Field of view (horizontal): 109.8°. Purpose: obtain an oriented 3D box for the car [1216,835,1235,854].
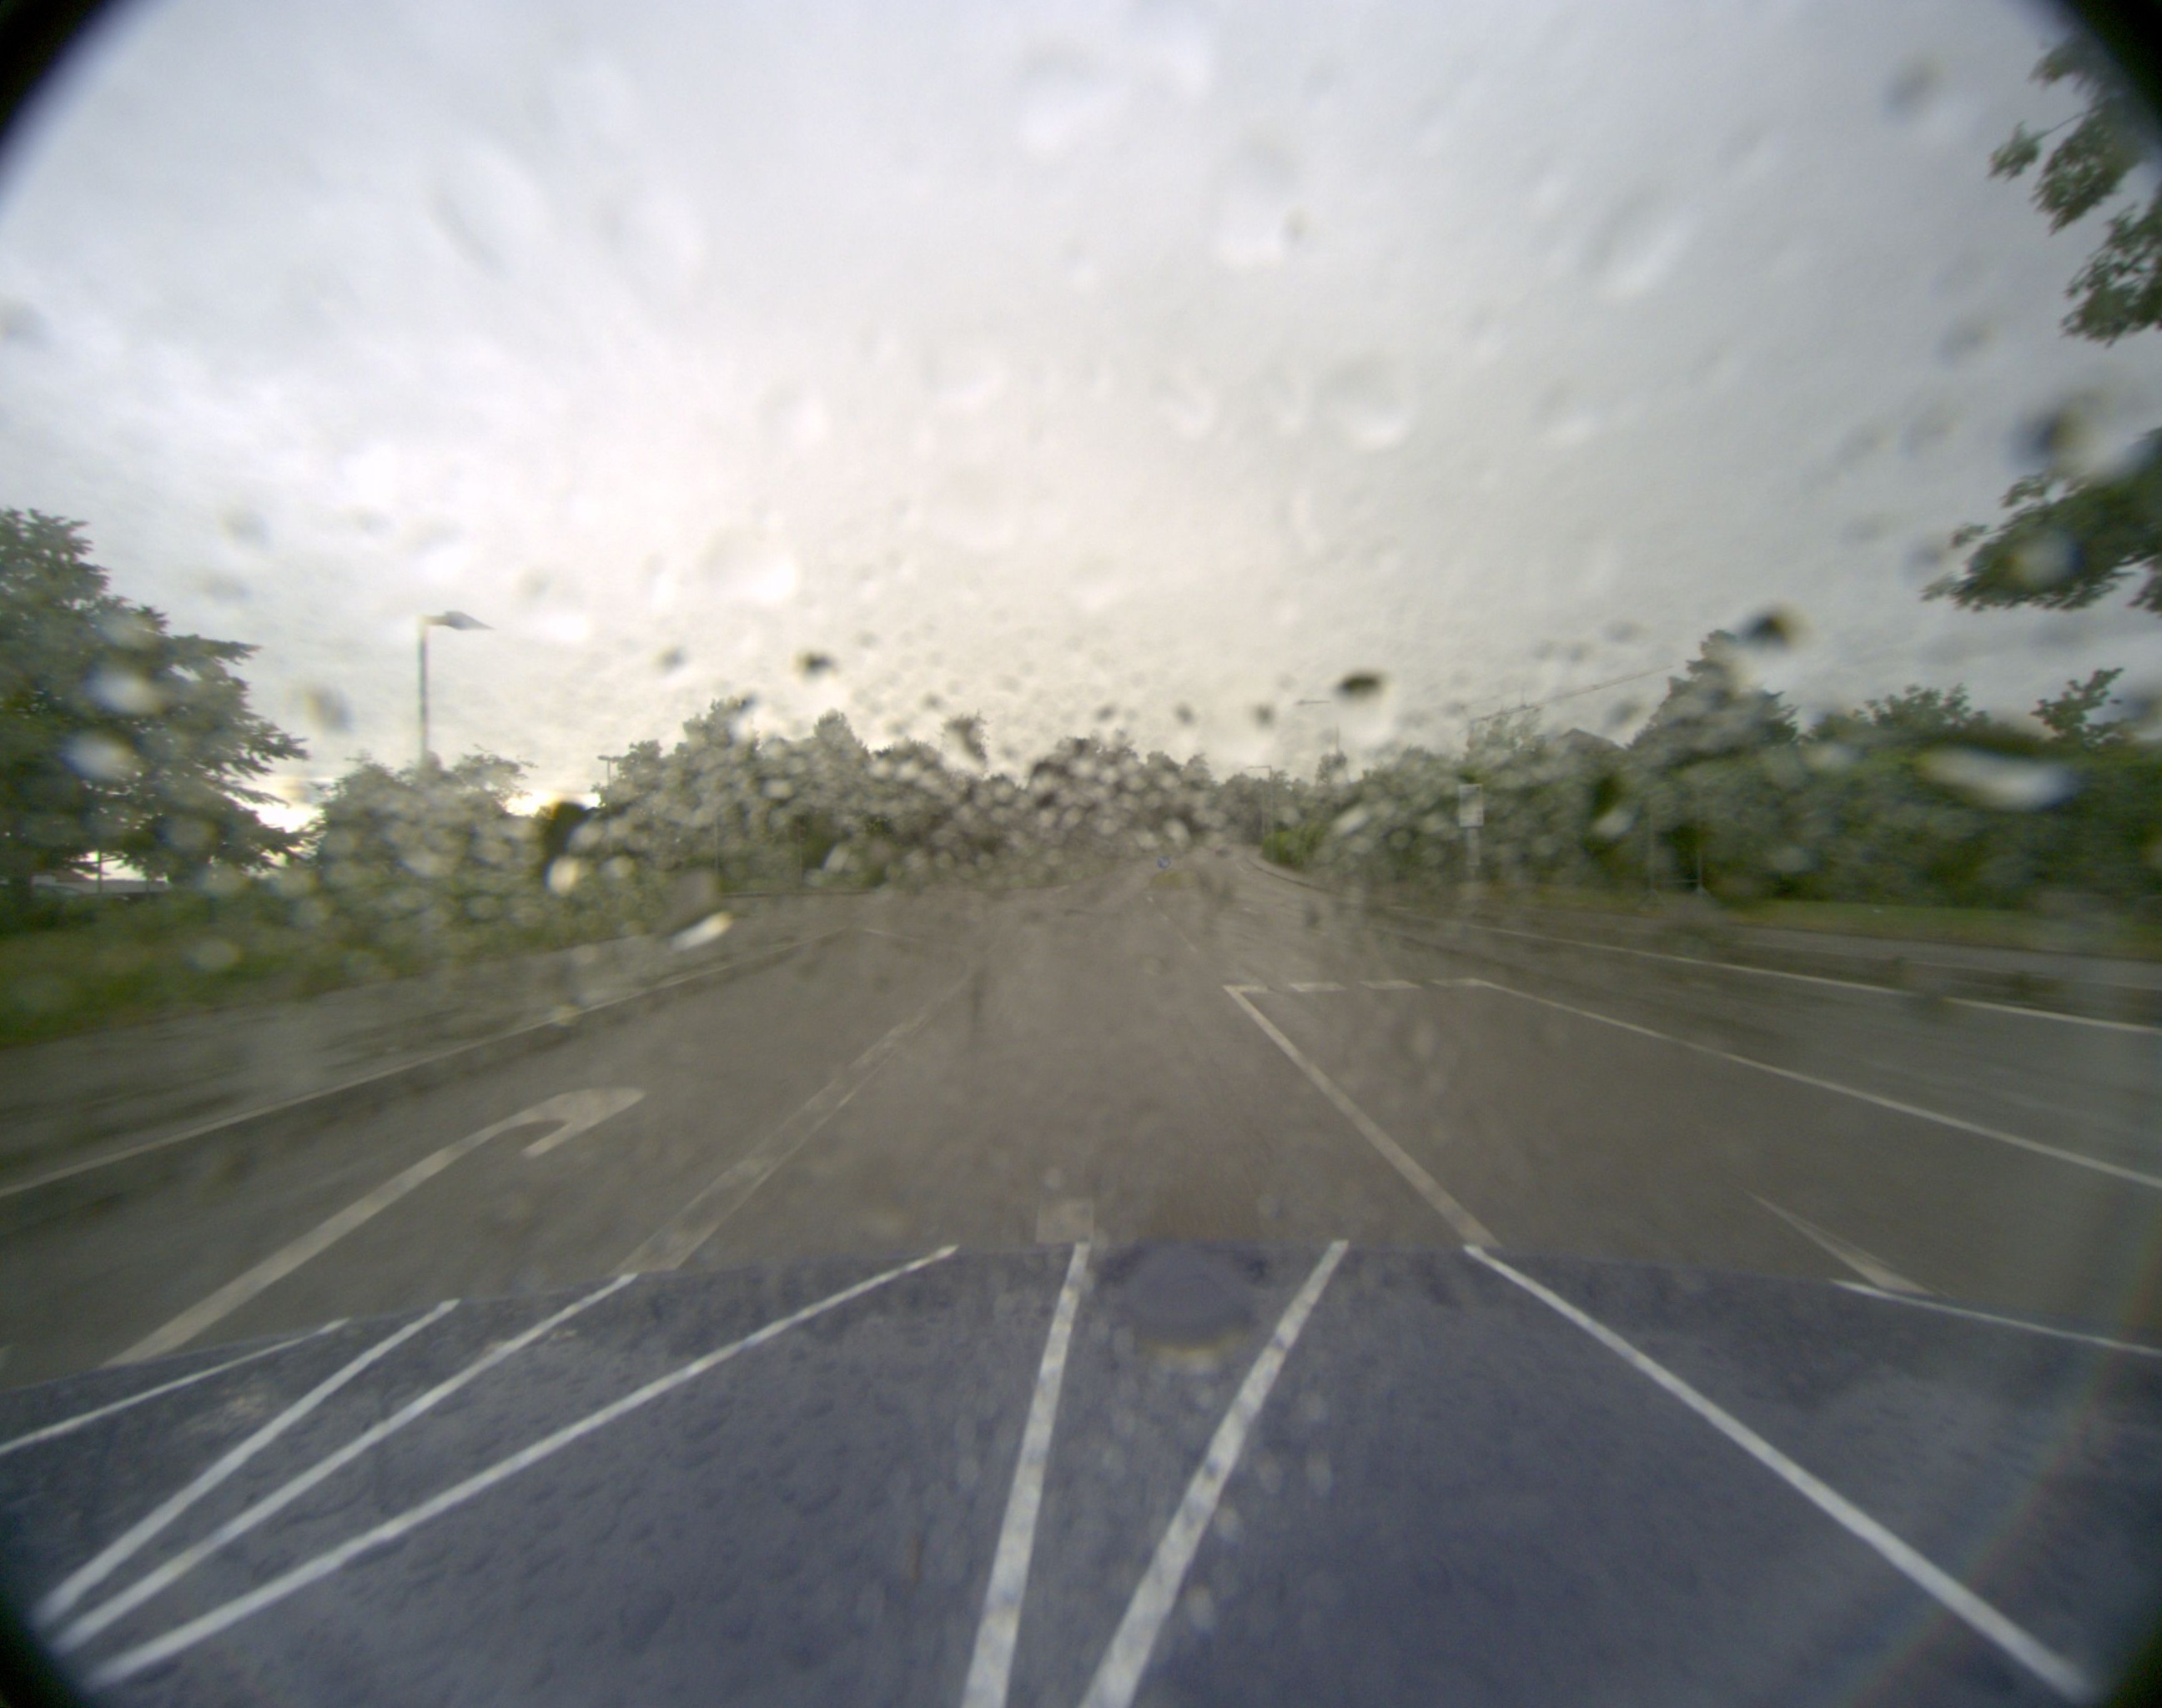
[{"bbox_3d":[16.248,-1.108,85.249,1.965,2.002,4.003,-2,1,13],"label":"car"}]
